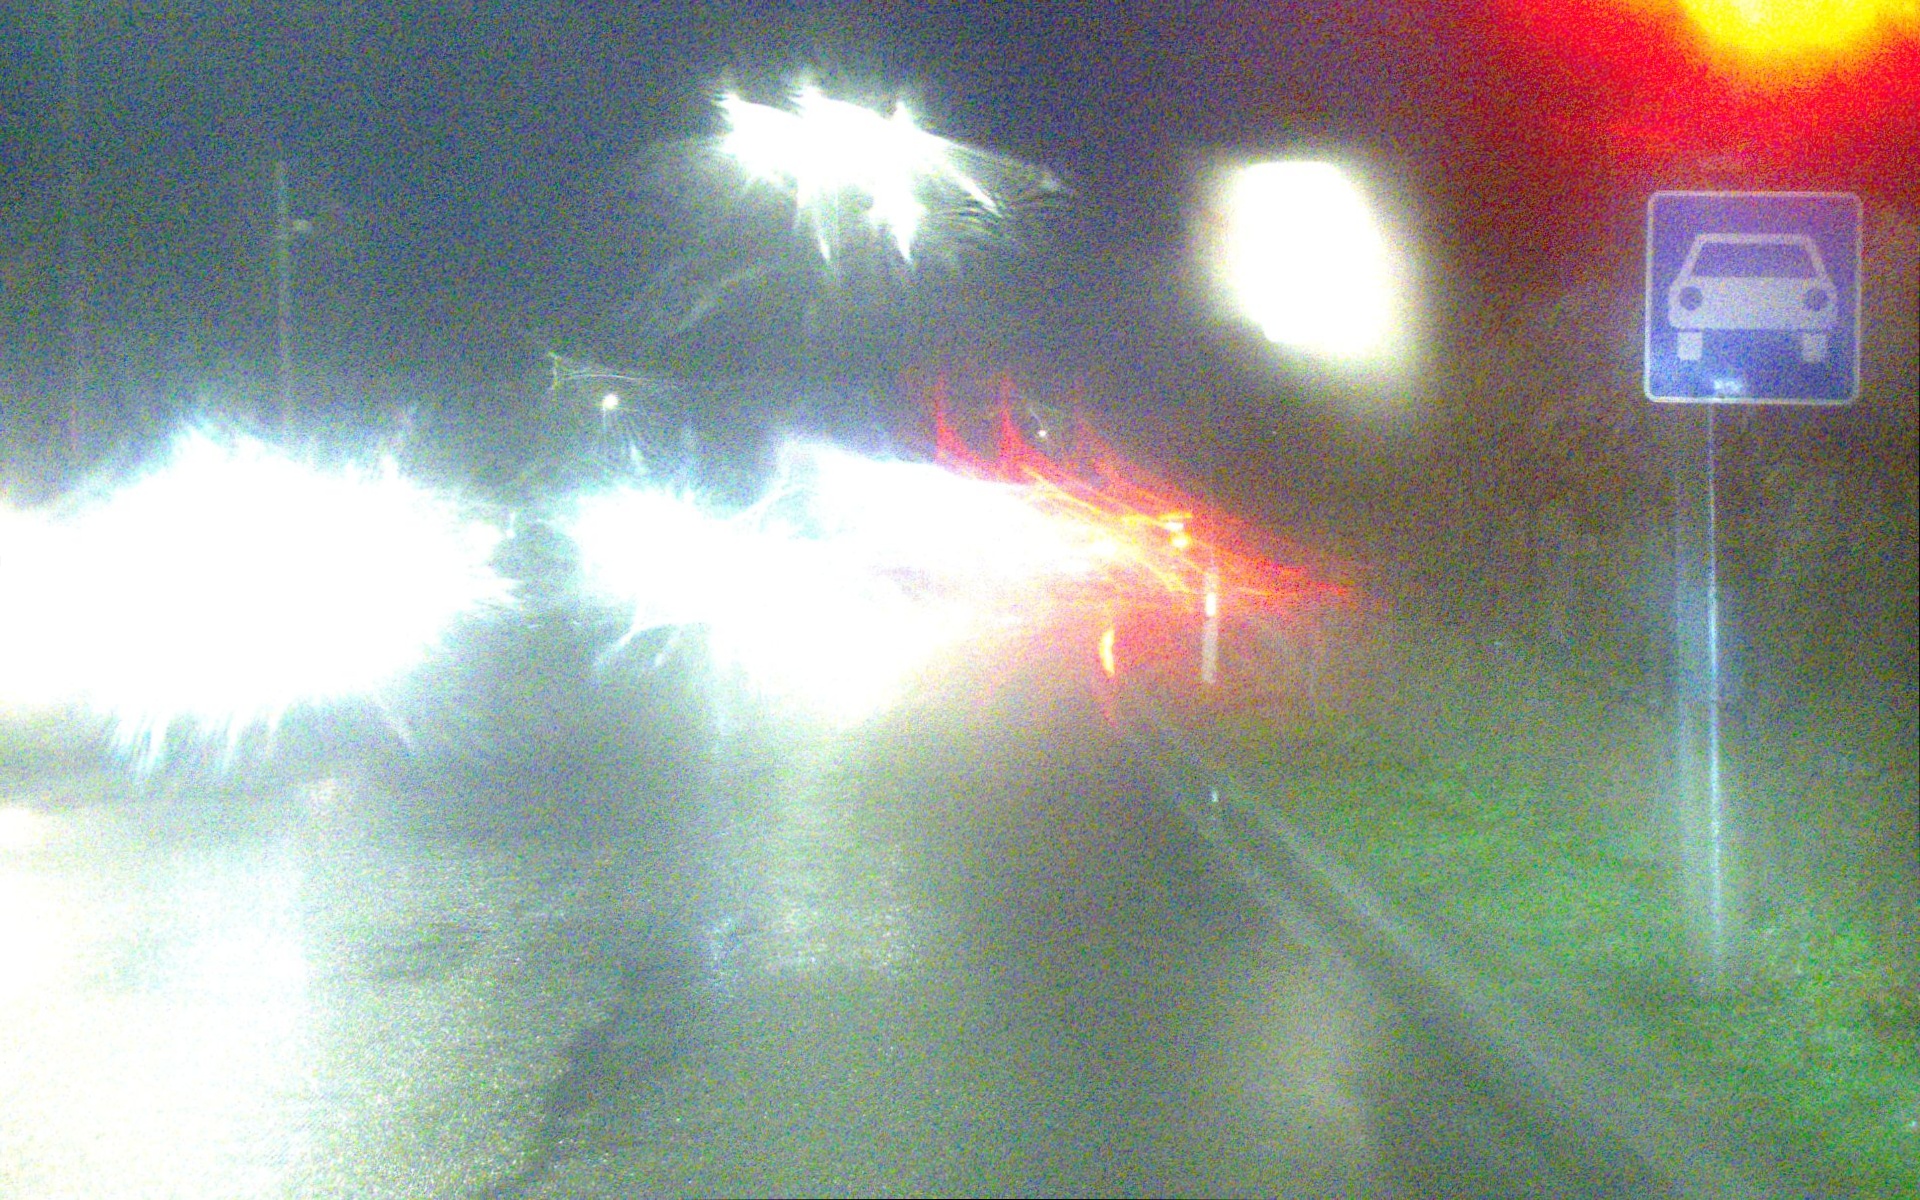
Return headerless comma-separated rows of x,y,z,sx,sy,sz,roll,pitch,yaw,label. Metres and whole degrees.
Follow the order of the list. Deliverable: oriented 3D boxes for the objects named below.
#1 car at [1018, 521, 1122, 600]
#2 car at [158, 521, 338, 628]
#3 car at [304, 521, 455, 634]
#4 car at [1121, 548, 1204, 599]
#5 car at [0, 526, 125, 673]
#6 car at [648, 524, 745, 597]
2.271,-0.806,71.815,1.993,1.605,4.103,0,0,-1,car
-11.710,-0.410,56.818,1.994,1.714,4.000,0,0,2,car
-8.994,-0.348,53.551,1.717,1.697,4.143,0,0,-1,car
5.765,-0.737,98.223,2.103,1.434,4.000,0,0,0,car
-10.384,-0.009,37.267,1.585,1.520,3.651,0,0,3,car
-5.709,-0.835,74.821,1.708,1.529,4.600,0,0,1,car
